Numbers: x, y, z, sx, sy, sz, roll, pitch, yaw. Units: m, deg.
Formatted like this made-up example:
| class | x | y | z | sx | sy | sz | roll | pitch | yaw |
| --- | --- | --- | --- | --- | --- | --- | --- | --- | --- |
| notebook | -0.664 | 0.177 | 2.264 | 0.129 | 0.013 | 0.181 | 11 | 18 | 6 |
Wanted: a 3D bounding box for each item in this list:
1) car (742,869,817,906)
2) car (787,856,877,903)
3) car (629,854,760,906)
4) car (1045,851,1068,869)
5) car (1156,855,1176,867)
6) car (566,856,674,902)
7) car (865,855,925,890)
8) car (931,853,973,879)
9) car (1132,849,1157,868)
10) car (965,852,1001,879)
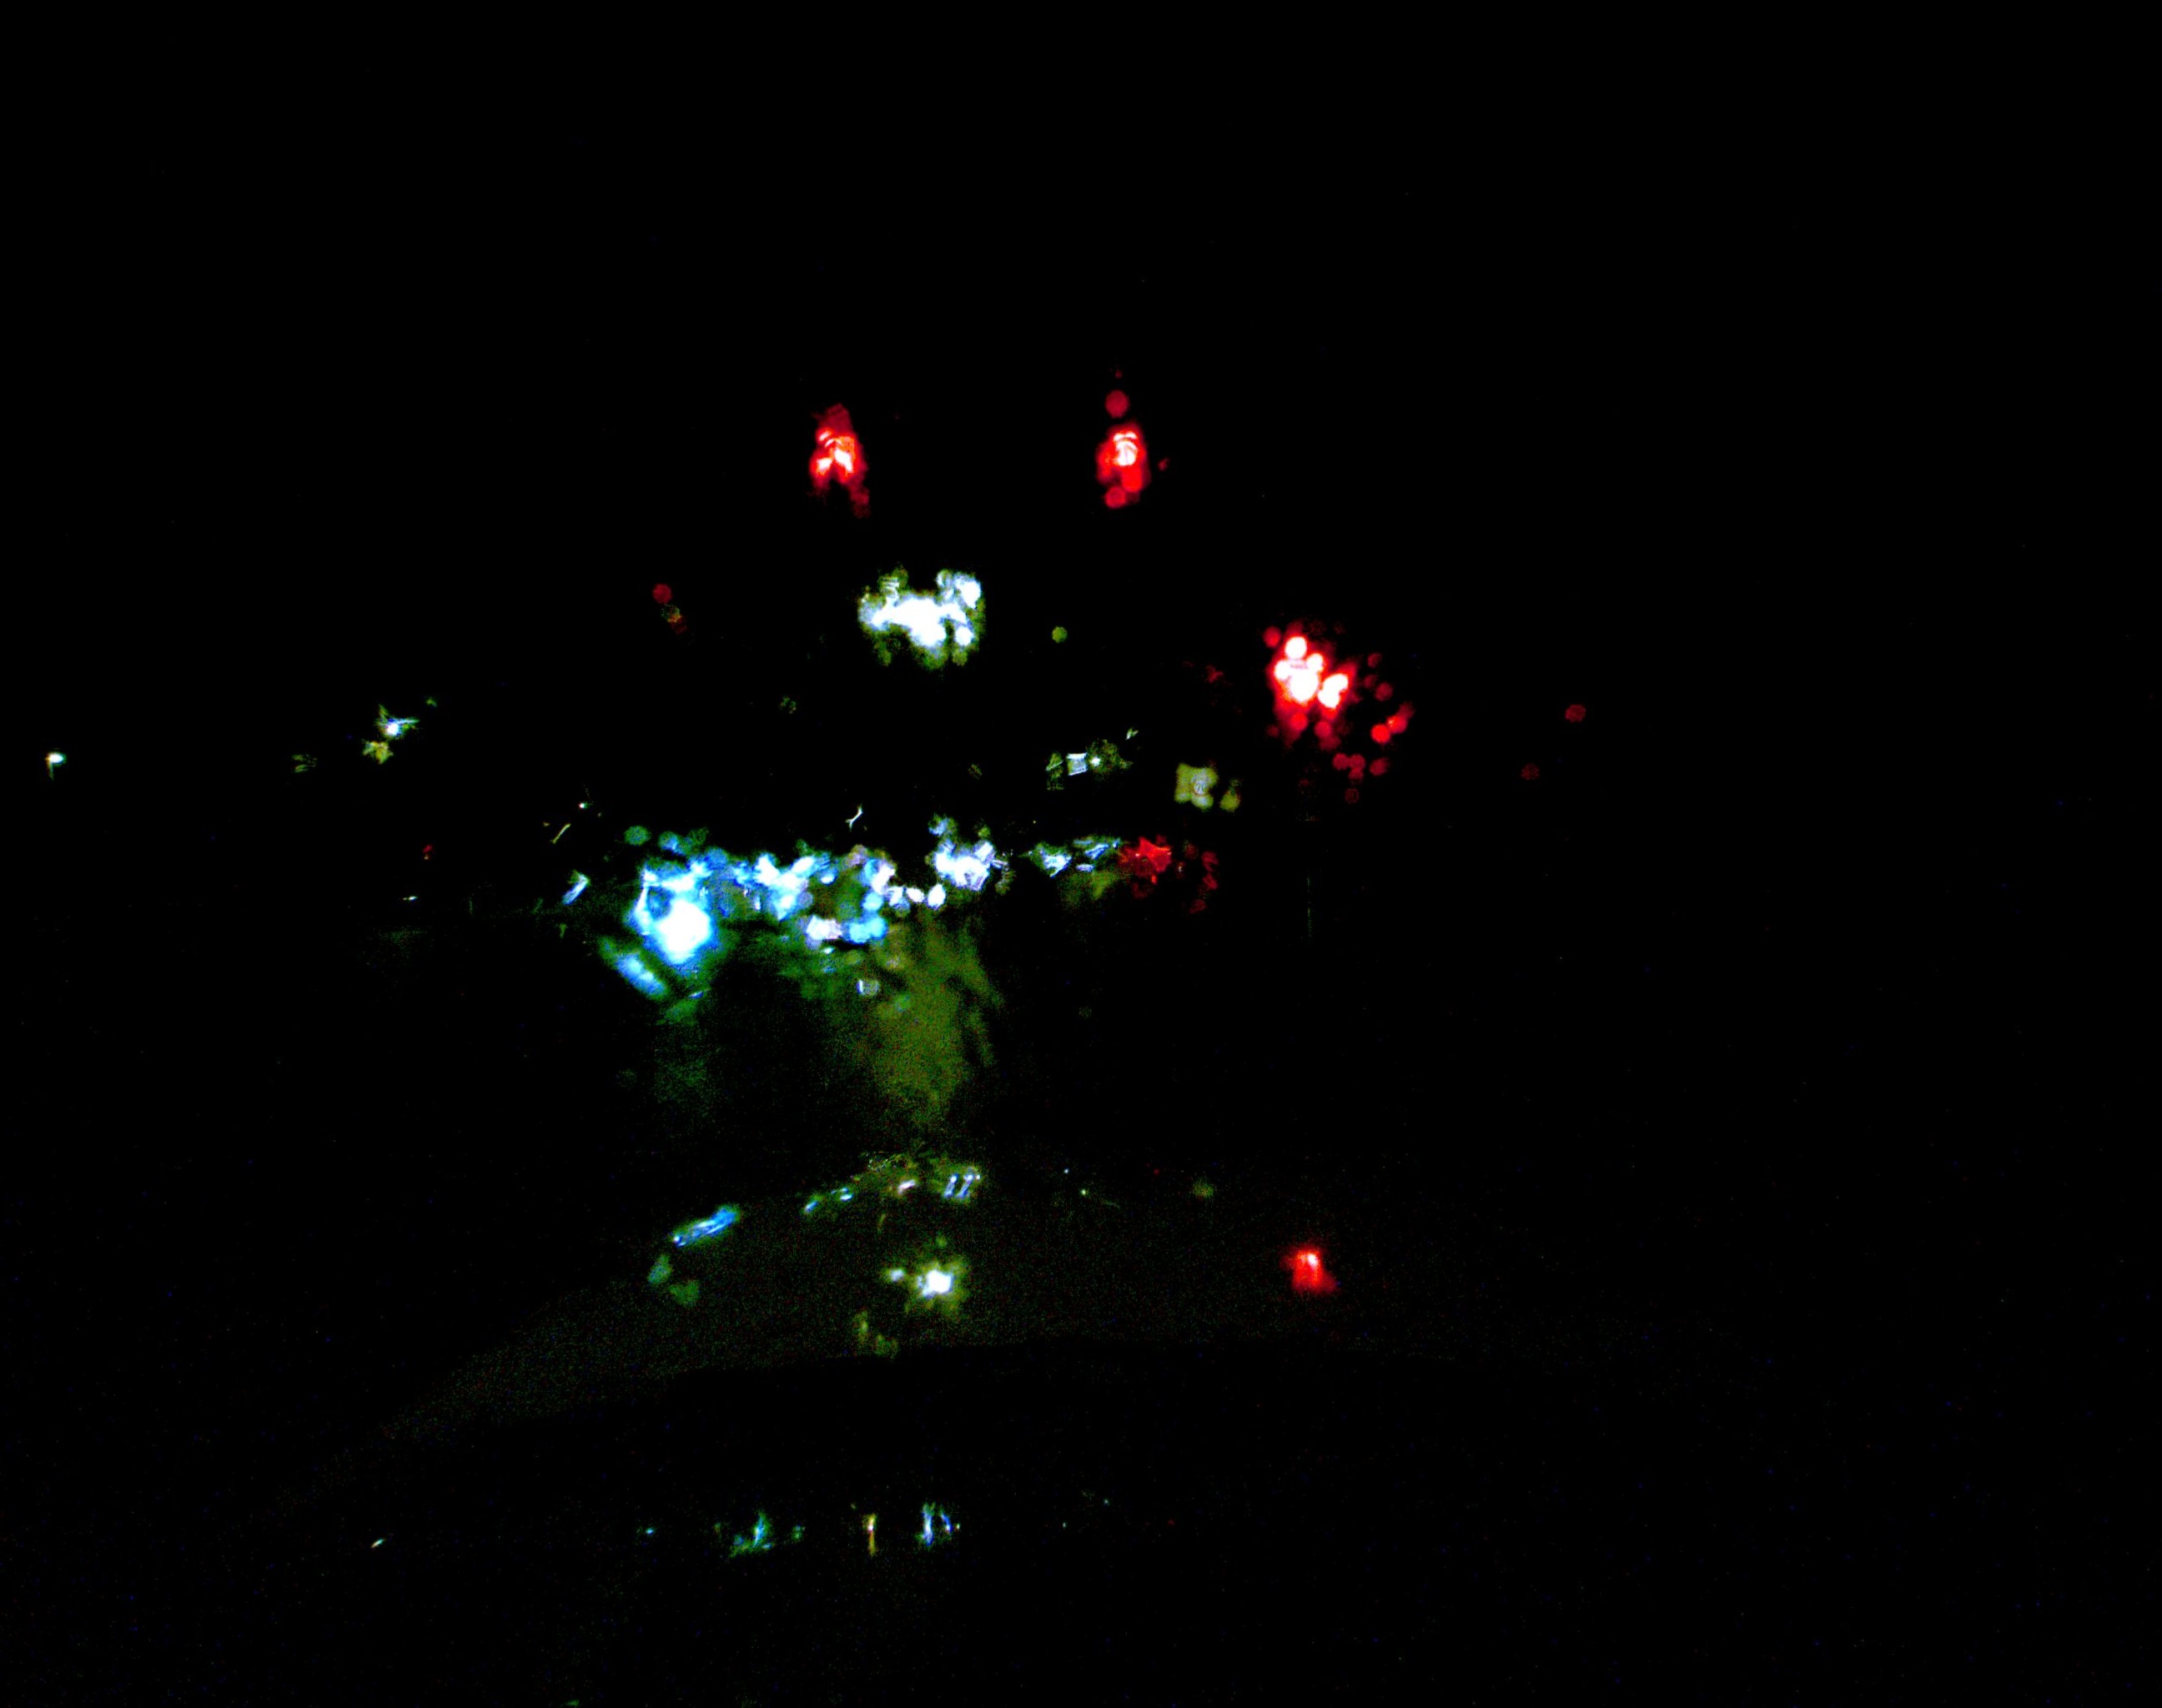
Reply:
| class | x | y | z | sx | sy | sz | roll | pitch | yaw |
| --- | --- | --- | --- | --- | --- | --- | --- | --- | --- |
| car | -12.498 | 1.352 | 34.010 | 1.662 | 1.454 | 3.729 | -1 | -1 | 1 |
| car | -9.191 | 0.886 | 30.455 | 1.692 | 1.571 | 4.714 | -1 | 0 | 2 |
| car | -12.758 | 0.794 | 27.311 | 1.784 | 1.571 | 4.918 | -1 | 0 | 3 |
| car | -2.232 | 0.584 | 75.051 | 1.701 | 1.534 | 4.603 | -1 | -1 | 3 |
| car | 10.229 | 0.853 | 98.163 | 2.095 | 1.439 | 4.001 | -1 | -1 | 2 |
| car | -20.394 | 1.069 | 36.065 | 4.017 | 1.831 | 1.703 | -2 | 0 | -35 |
| car | -8.531 | 0.844 | 37.614 | 1.577 | 1.526 | 3.657 | -1 | -1 | 6 |
| car | -8.994 | 0.818 | 57.194 | 1.984 | 1.720 | 4.005 | -1 | -1 | 5 |
| car | 5.582 | 0.389 | 71.856 | 1.986 | 1.611 | 4.104 | -1 | -1 | 2 |
| car | -6.433 | 0.764 | 53.862 | 1.711 | 1.703 | 4.144 | -1 | -1 | 1 |
